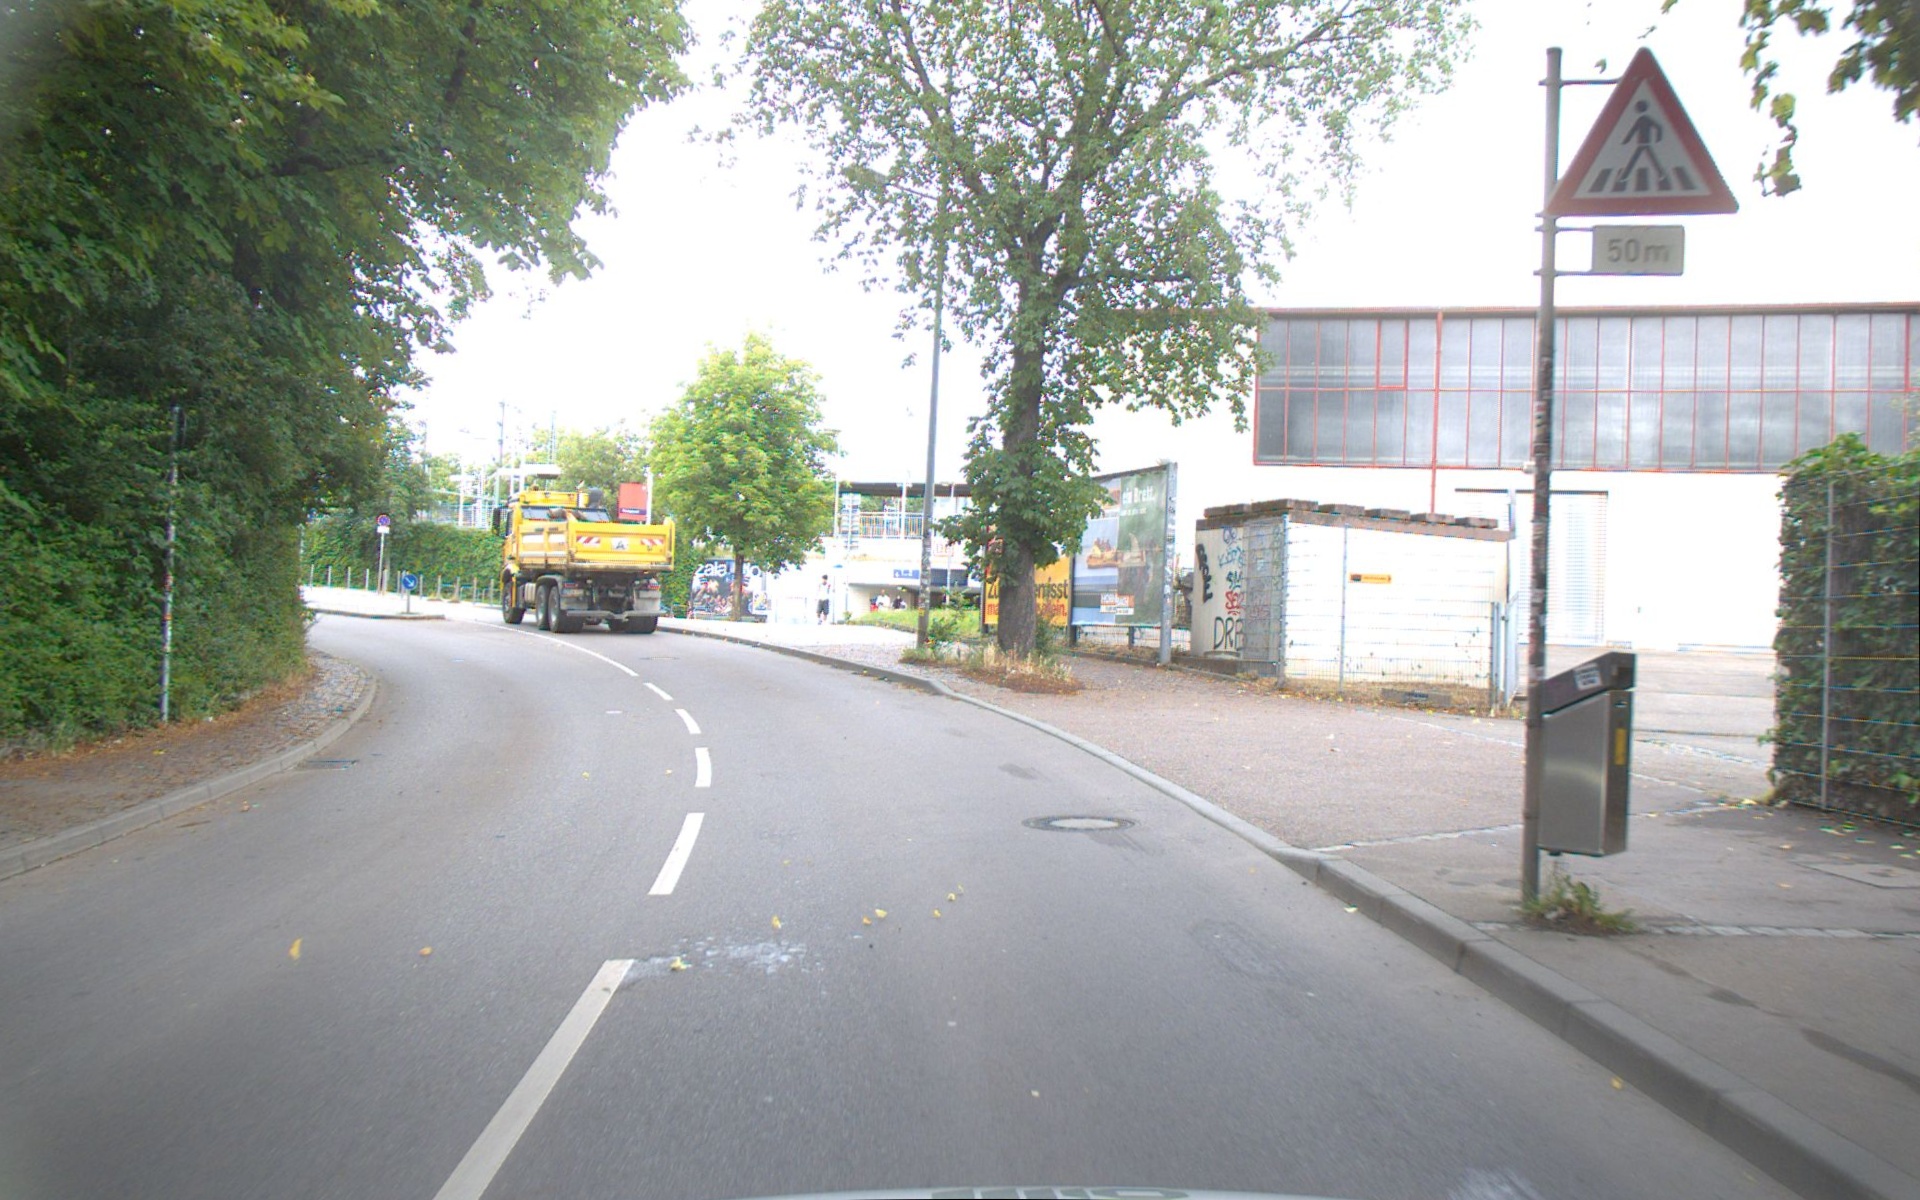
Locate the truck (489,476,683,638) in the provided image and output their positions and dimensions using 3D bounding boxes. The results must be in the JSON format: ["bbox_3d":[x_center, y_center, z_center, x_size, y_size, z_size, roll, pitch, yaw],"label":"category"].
[{"bbox_3d":[-9.567,-1.143,41.565,2.732,3.543,8.060,3,1,-27],"label":"truck"}]

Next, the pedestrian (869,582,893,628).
[{"bbox_3d":[-3.040,0.182,63.631,0.797,1.732,0.749,2,-2,1],"label":"pedestrian"}]

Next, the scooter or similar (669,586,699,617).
[{"bbox_3d":[-12.195,0.066,73.059,1.178,1.227,0.462,6,-3,-36],"label":"scooter or similar"}]

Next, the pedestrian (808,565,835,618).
[{"bbox_3d":[-4.607,-0.275,55.182,0.831,1.714,0.939,1,-2,-3],"label":"pedestrian"}]

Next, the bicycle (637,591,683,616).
[{"bbox_3d":[-13.418,0.155,73.928,1.953,0.880,0.504,7,-3,-39],"label":"bicycle"}]

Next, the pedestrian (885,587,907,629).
[{"bbox_3d":[-2.520,0.312,65.210,0.783,1.611,0.802,2,-2,1],"label":"pedestrian"}]
